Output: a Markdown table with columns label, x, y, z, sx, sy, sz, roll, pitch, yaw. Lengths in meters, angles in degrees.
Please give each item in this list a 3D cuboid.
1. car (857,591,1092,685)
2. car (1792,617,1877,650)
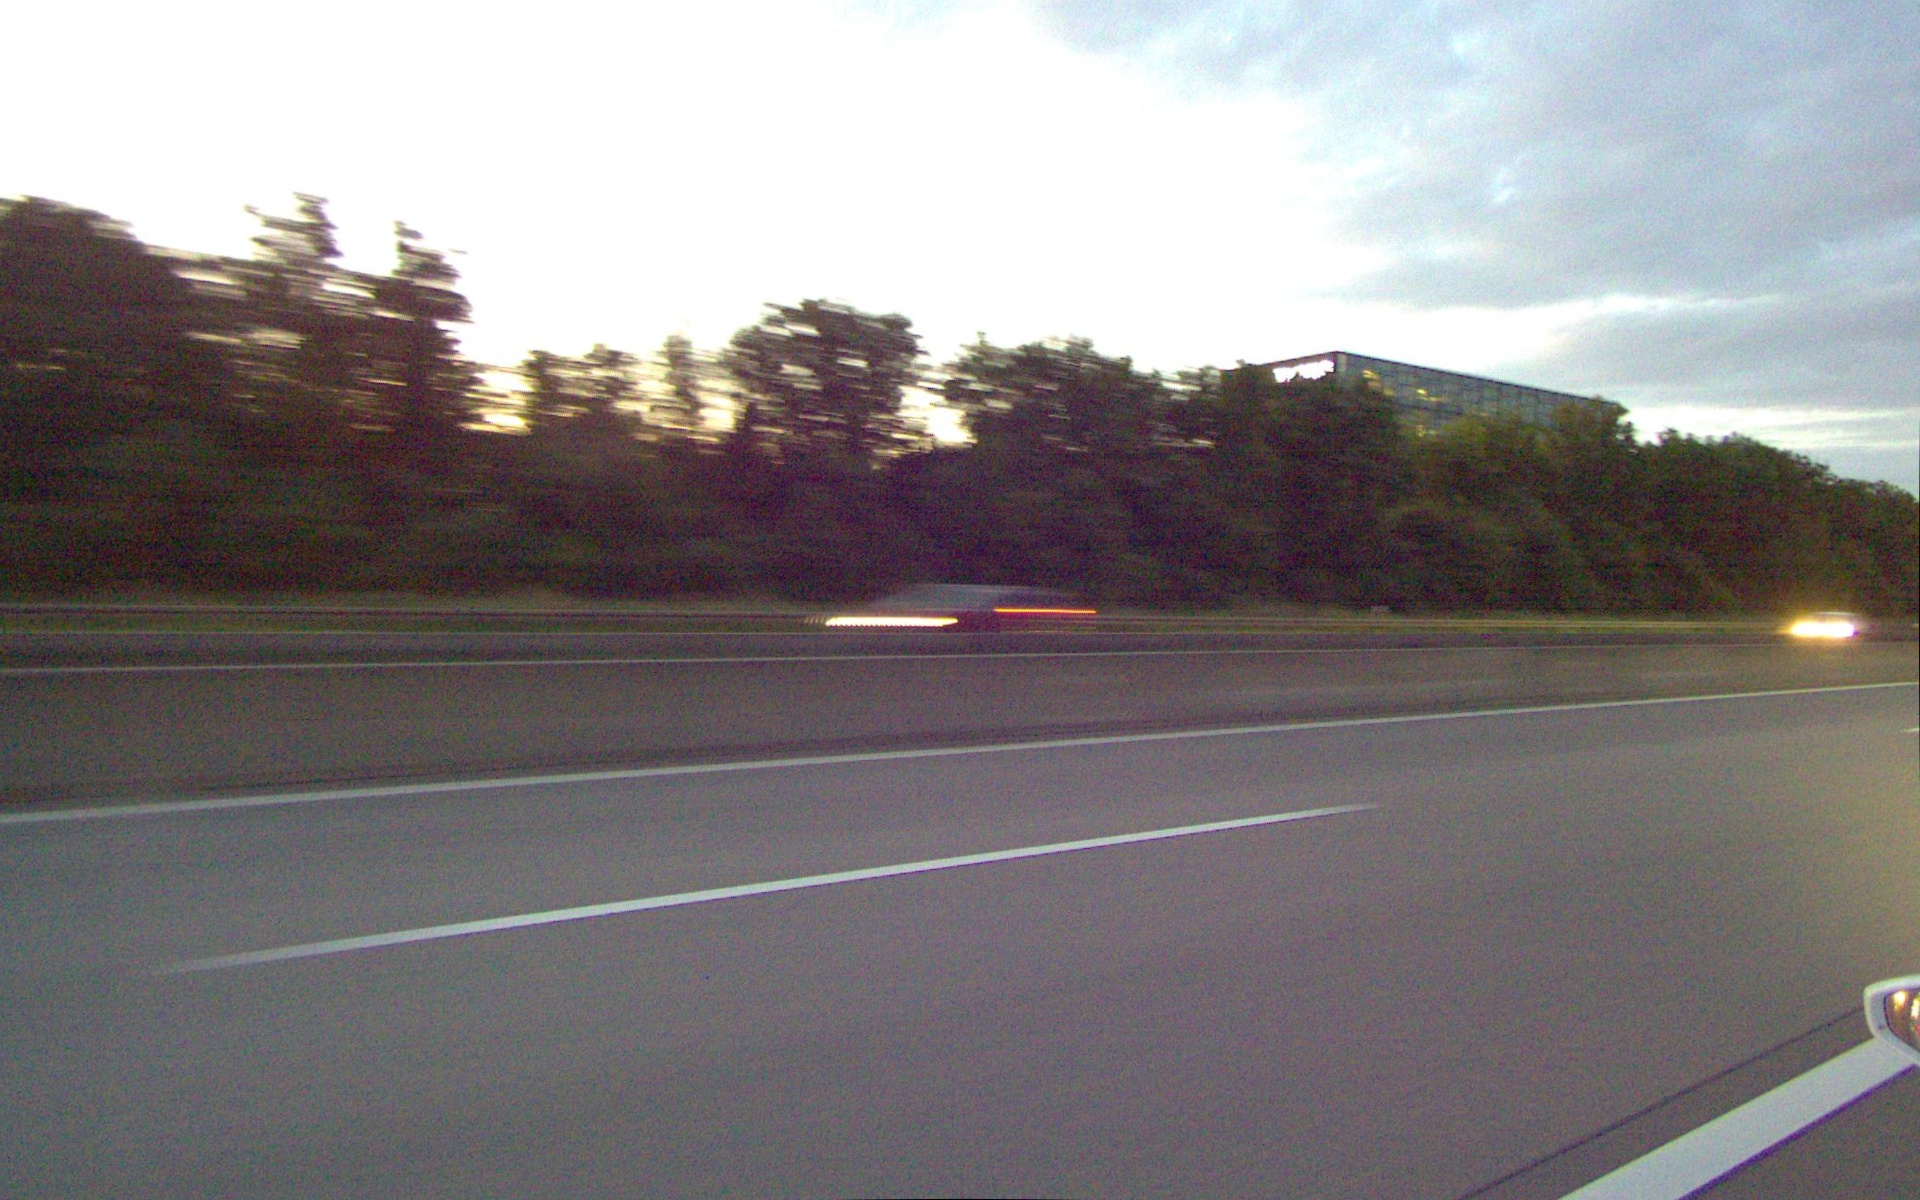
| label | x | y | z | sx | sy | sz | roll | pitch | yaw |
| --- | --- | --- | --- | --- | --- | --- | --- | --- | --- |
| car | 0.353 | 0.802 | 21.885 | 4.785 | 1.815 | 1.983 | 2 | 0 | -31 |
| car | 41.459 | 1.584 | 47.599 | 3.791 | 1.472 | 1.983 | 2 | 0 | -31 |
